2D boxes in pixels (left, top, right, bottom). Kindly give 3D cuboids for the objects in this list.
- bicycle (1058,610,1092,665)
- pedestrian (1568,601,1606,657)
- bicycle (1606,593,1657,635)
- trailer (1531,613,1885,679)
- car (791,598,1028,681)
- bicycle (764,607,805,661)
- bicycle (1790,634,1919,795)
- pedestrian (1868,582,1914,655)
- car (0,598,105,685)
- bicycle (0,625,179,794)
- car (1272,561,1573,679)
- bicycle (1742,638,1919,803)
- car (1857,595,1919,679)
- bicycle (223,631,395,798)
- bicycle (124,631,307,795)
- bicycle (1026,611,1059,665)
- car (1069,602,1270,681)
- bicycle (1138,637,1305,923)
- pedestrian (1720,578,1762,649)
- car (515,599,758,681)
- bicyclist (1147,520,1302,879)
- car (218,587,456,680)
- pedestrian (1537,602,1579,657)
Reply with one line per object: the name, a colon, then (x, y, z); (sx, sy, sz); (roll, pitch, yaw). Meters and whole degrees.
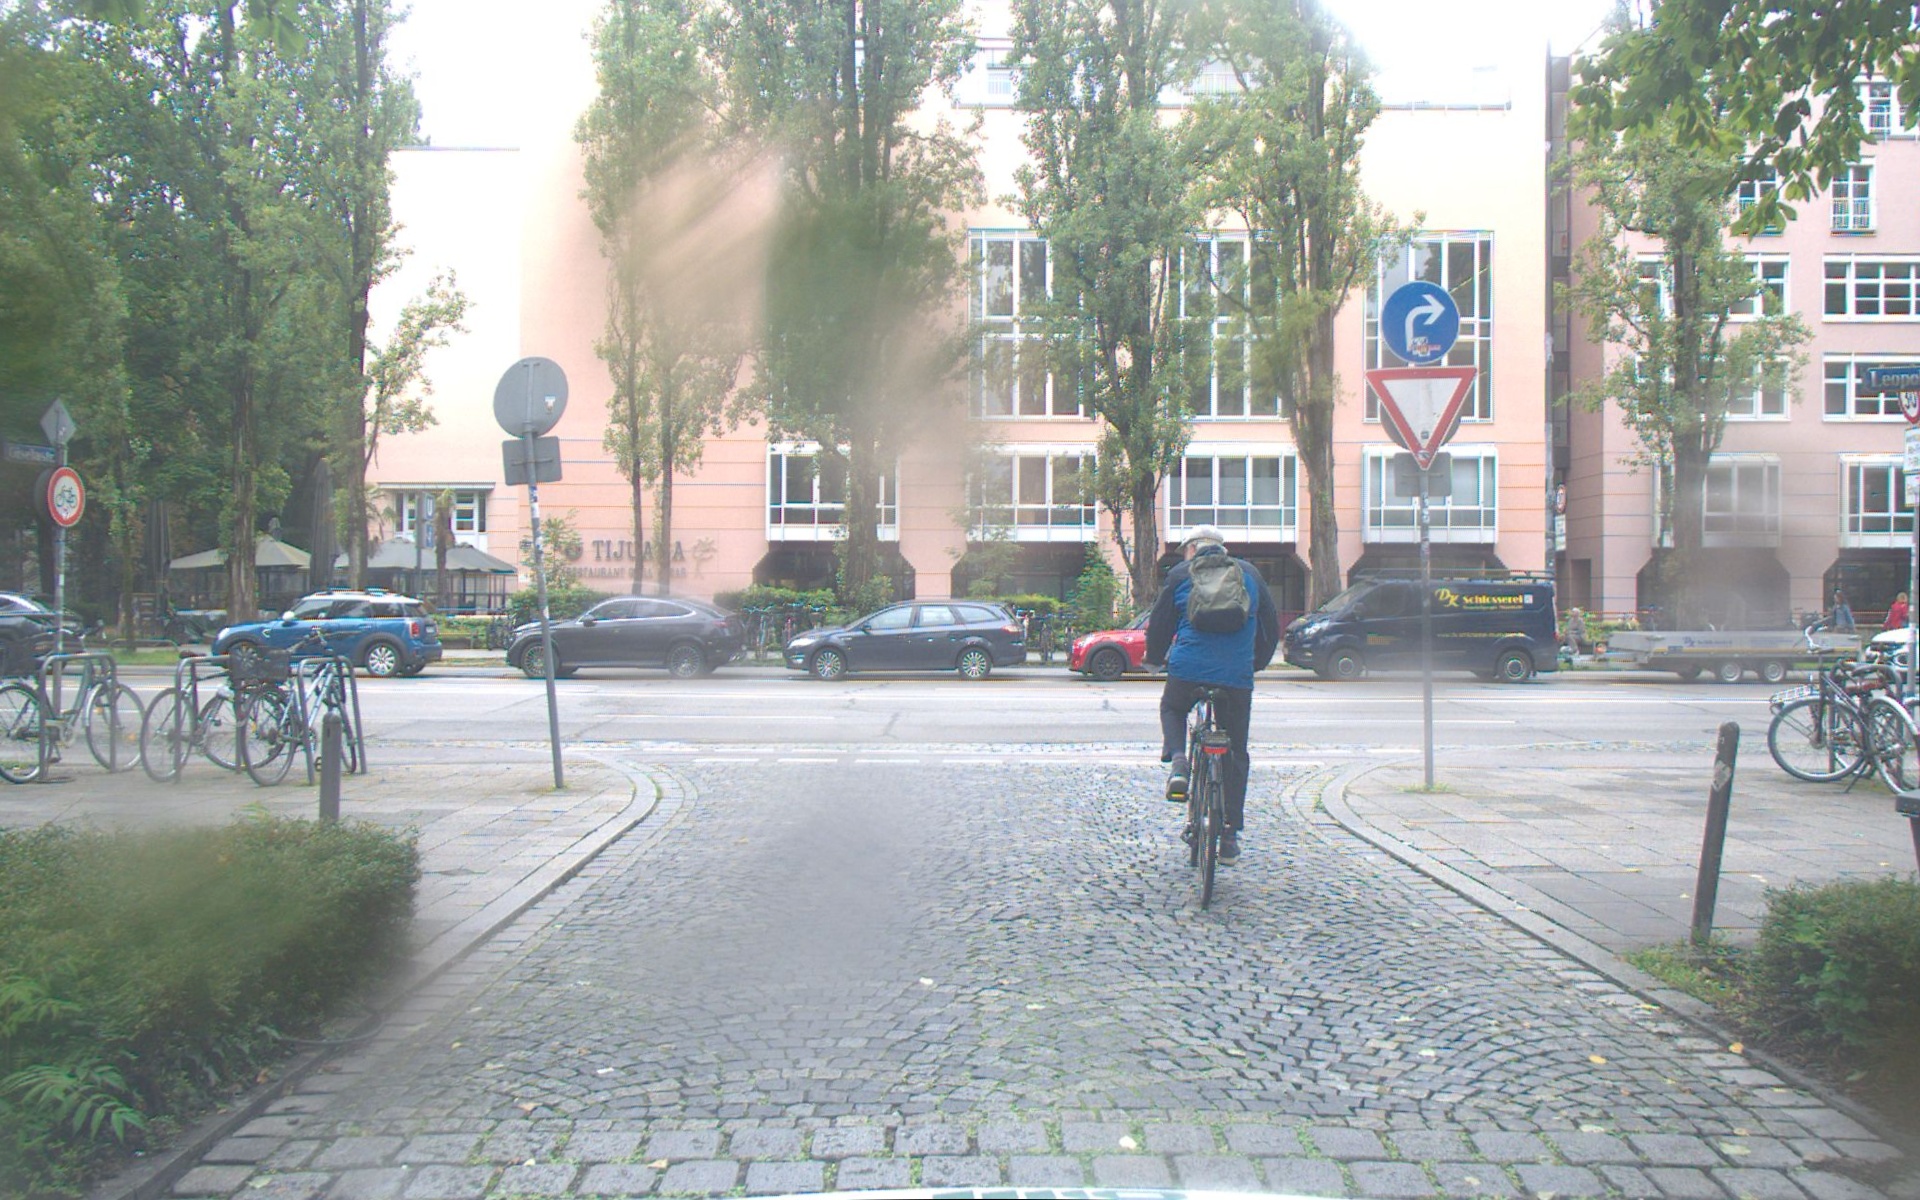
bicycle: (2.529, 0.816, 36.476); (0.660, 1.144, 1.742); (0, 0, 1)
pedestrian: (16.052, 0.737, 42.338); (0.714, 1.393, 0.709); (0, 0, 1)
bicycle: (18.683, 0.386, 46.049); (0.660, 1.144, 1.989); (0, 0, 1)
trailer: (14.558, 0.877, 32.484); (5.894, 1.220, 2.405); (0, 0, 1)
car: (-0.959, 0.751, 32.431); (4.513, 1.555, 1.794); (0, 0, 0)
bicycle: (-3.896, 0.738, 36.790); (0.660, 1.144, 1.989); (0, 0, 1)
bicycle: (7.008, 0.829, 12.620); (0.464, 1.069, 1.877); (0, 1, 2)
pedestrian: (22.392, 0.438, 39.777); (0.714, 1.743, 0.709); (0, 0, 1)
car: (-19.189, 0.789, 32.212); (4.136, 1.628, 1.794); (0, 0, 0)
bicycle: (-6.602, 0.765, 12.312); (0.479, 1.112, 1.985); (0, 0, 5)
car: (8.985, 0.366, 32.450); (5.366, 2.235, 2.024); (0, 0, 0)
bicycle: (6.440, 0.829, 12.047); (0.465, 1.069, 1.874); (0, 0, -5)
car: (19.952, 0.699, 32.041); (4.132, 1.569, 1.807); (0, -1, 2)
bicycle: (-4.800, 0.805, 12.303); (0.479, 1.112, 1.704); (0, 0, 5)
bicycle: (-5.564, 0.807, 12.466); (0.479, 1.112, 1.704); (0, 0, 5)
bicycle: (1.815, 0.824, 36.493); (0.660, 1.144, 1.742); (0, 0, 1)
car: (4.016, 0.782, 32.192); (3.780, 1.474, 1.679); (0, 0, 3)
bicycle: (1.256, 0.783, 7.979); (0.701, 1.168, 1.902); (0, 0, 9)
pedestrian: (19.162, 0.328, 40.587); (0.714, 1.743, 0.709); (0, 0, 1)
car: (-6.297, 0.760, 32.493); (4.407, 1.555, 1.794); (0, 0, 0)
bicyclist: (1.279, 0.454, 8.017); (0.706, 1.647, 0.757); (0, 0, 9)
car: (-12.156, 0.649, 32.450); (3.982, 1.762, 1.793); (0, -1, -1)
pedestrian: (15.280, 0.740, 42.254); (0.699, 1.393, 0.725); (0, 0, -29)
